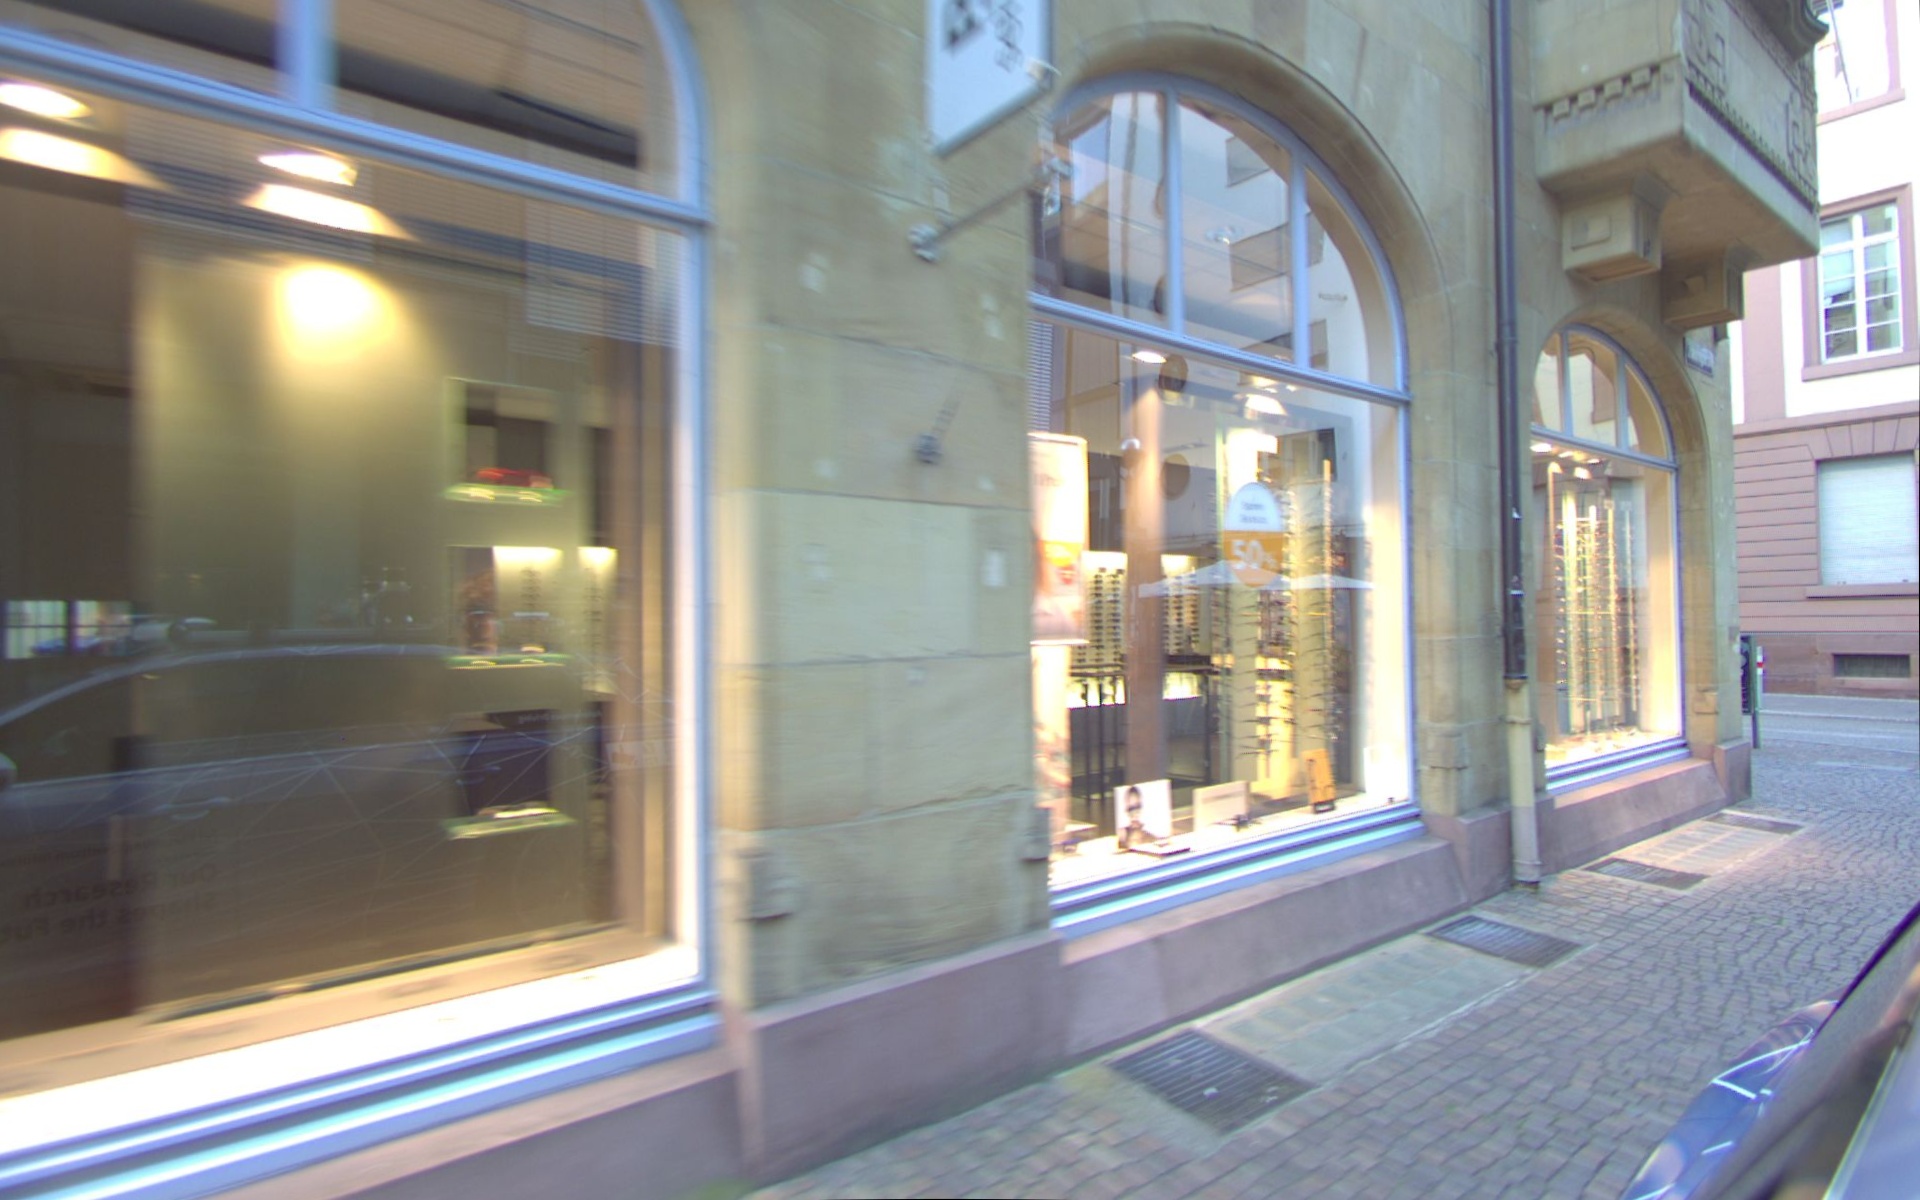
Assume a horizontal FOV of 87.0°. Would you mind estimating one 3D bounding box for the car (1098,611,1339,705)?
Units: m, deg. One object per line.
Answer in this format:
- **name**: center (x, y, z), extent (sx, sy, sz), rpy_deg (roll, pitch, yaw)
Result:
- **car**: center (4.438, 0.954, 17.904), extent (1.619, 1.461, 3.997), rpy_deg (0, -1, -36)
